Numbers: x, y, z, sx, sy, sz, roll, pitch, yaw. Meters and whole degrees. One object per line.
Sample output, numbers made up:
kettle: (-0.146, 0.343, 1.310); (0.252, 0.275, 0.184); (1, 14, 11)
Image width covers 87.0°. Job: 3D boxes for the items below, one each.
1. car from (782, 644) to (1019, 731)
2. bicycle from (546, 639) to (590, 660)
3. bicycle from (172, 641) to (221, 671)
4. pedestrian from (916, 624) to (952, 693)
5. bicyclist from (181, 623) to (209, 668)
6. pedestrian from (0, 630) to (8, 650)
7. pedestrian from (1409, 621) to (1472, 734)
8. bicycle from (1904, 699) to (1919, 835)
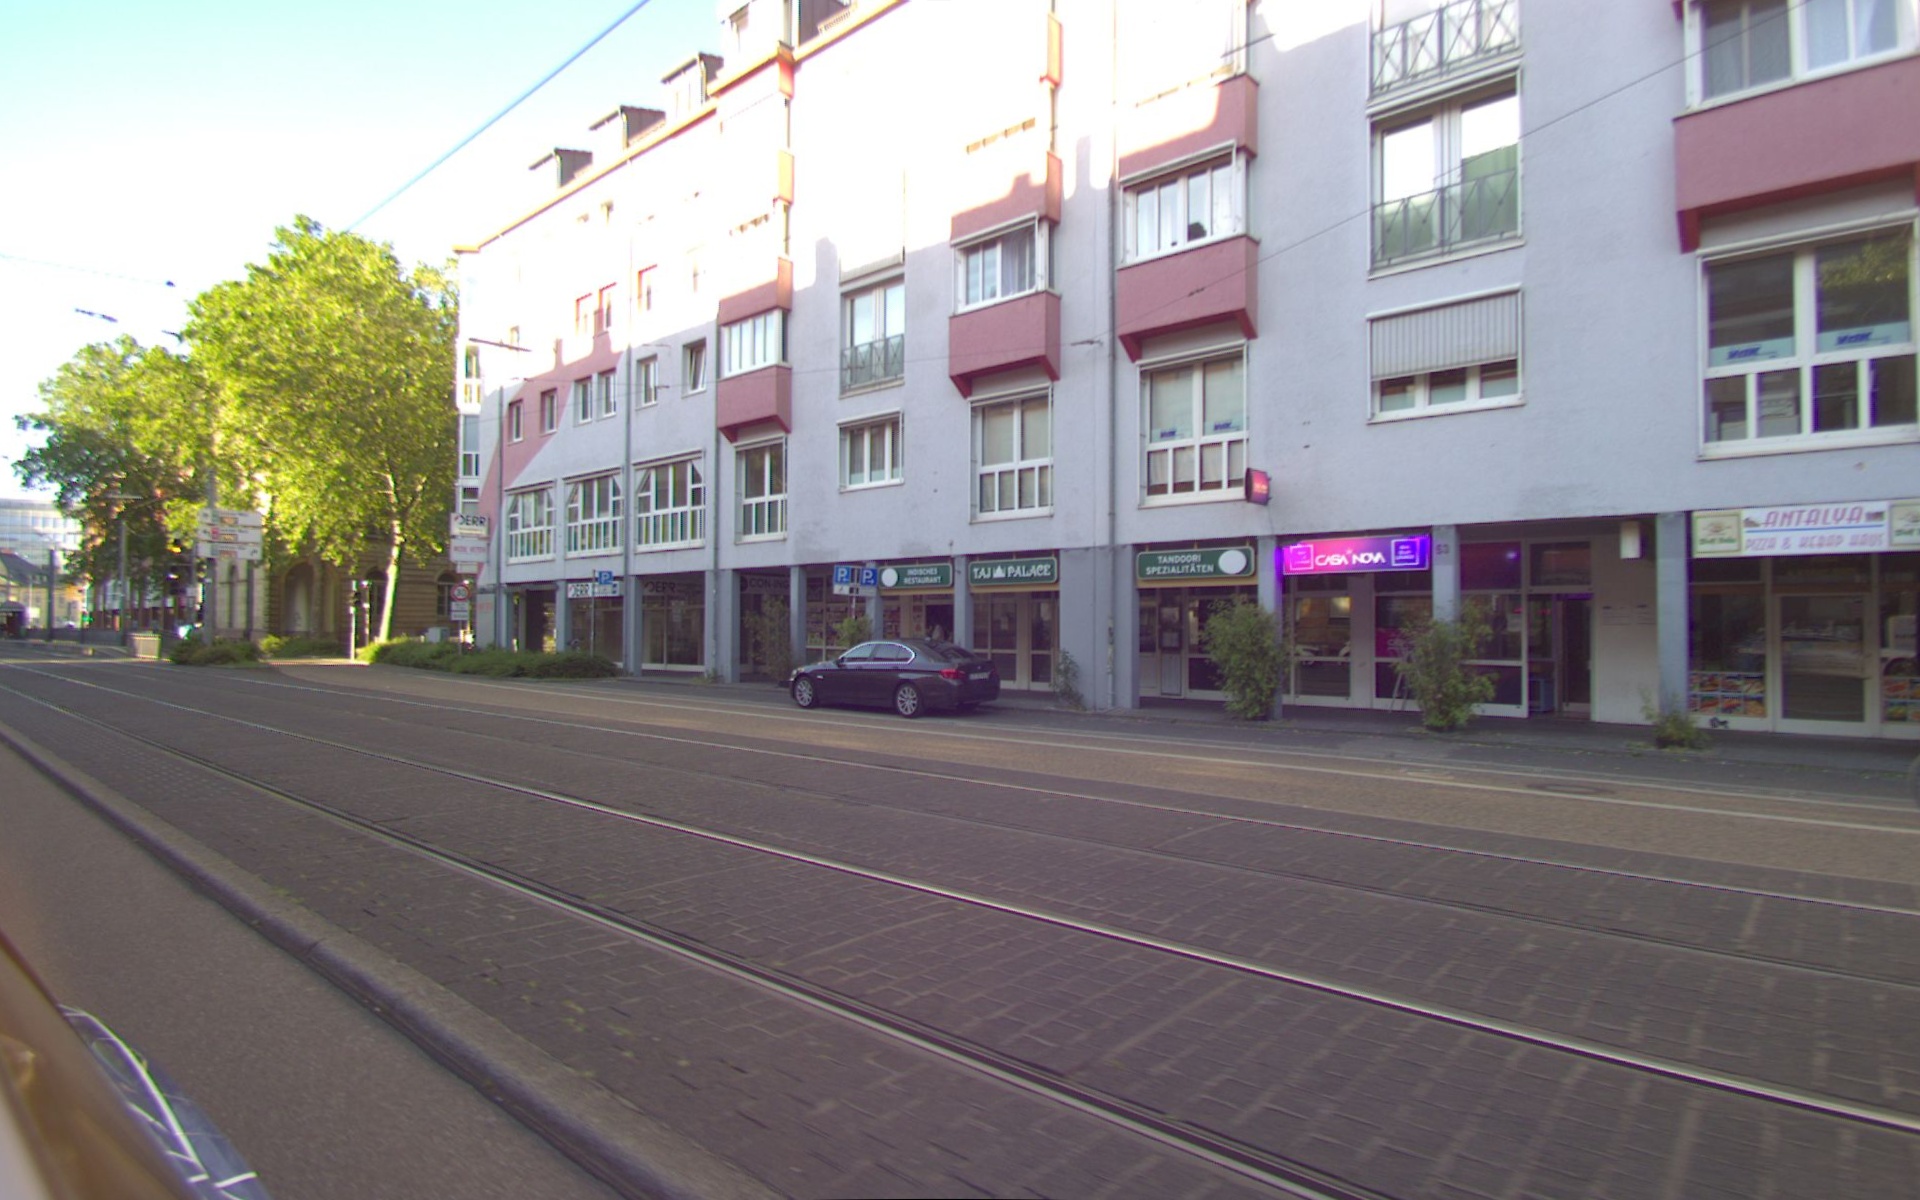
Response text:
car: (-1.281, 1.642, 20.097); (4.702, 1.450, 1.851); (-1, -1, 39)
bicycle: (-12.981, 1.644, 33.526); (1.807, 0.663, 0.451); (-2, 0, 37)
bicycle: (-30.064, 2.193, 39.881); (0.575, 1.086, 1.900); (-1, 0, -2)
pedestrian: (-0.660, 1.470, 25.703); (0.615, 1.725, 0.736); (-2, -3, 38)
bicyclist: (-30.042, 1.789, 39.744); (0.526, 1.725, 0.746); (0, -2, -4)
pedestrian: (-78.579, 3.265, 82.821); (0.967, 1.674, 0.902); (-2, -3, 41)
pedestrian: (7.573, 1.196, 15.948); (0.745, 1.725, 0.608); (-2, -3, 40)
bicycle: (8.746, 1.360, 7.750); (2.185, 1.086, 0.576); (-2, -4, 43)
